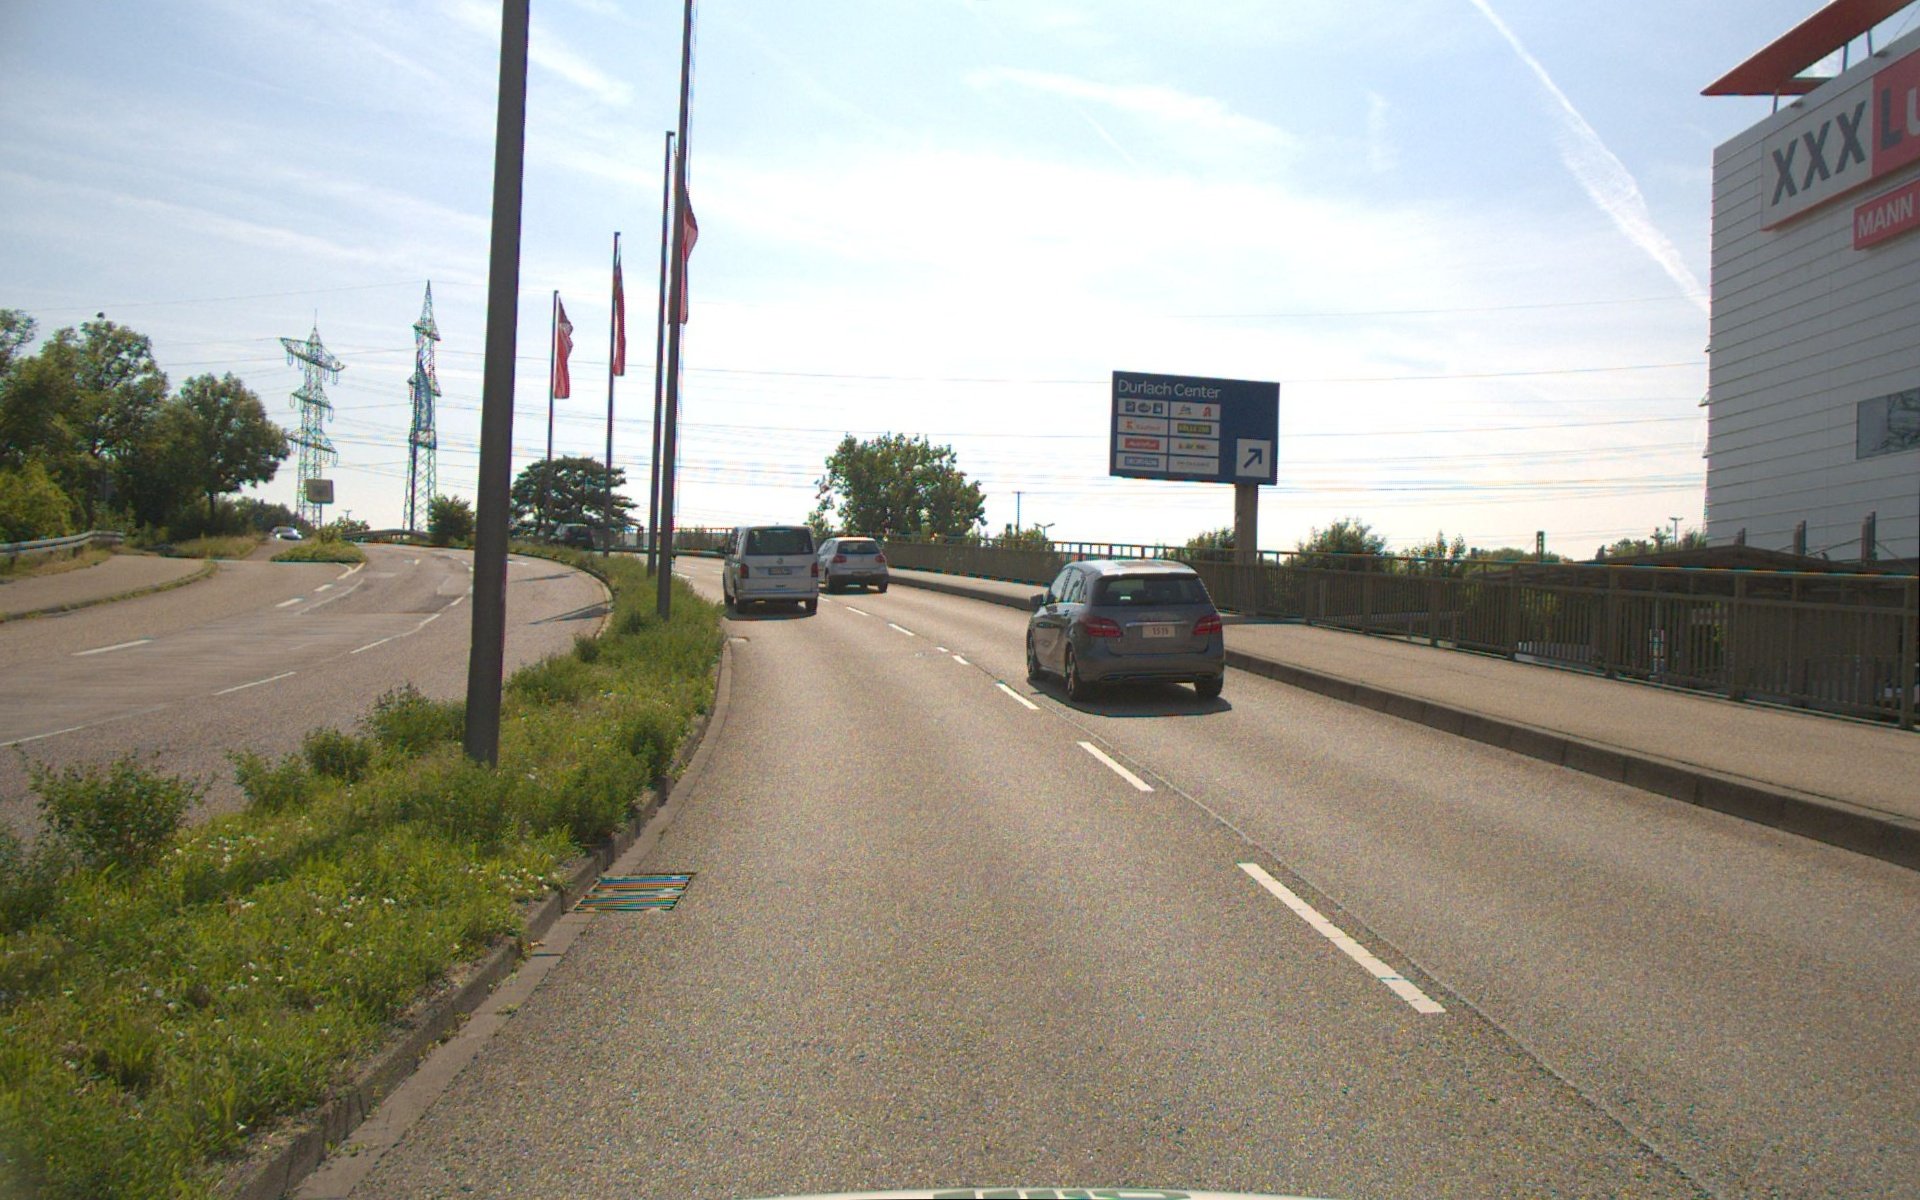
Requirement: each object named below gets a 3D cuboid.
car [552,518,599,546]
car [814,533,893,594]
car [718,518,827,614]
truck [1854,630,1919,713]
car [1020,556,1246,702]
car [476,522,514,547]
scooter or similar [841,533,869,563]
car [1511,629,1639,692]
[{"bbox_3d":[-21.109,-3.739,90.777,1.751,1.355,3.711,-3,2,-25],"label":"car"},{"bbox_3d":[-3.068,-1.084,47.053,1.822,1.555,4.136,-2,3,-9],"label":"car"},{"bbox_3d":[-4.371,-0.836,38.061,2.004,2.048,3.988,-1,3,-13],"label":"car"},{"bbox_3d":[36.551,2.677,61.074,5.869,2.978,2.132,2,-1,1],"label":"truck"},{"bbox_3d":[1.958,0.271,19.952,1.821,1.556,4.138,1,1,-7],"label":"car"},{"bbox_3d":[-27.933,-3.962,99.348,1.749,1.354,3.717,-2,4,-22],"label":"car"},{"bbox_3d":[-4.204,-2.083,66.106,0.505,1.162,1.469,1,2,-28],"label":"scooter or similar"},{"bbox_3d":[31.017,3.065,83.473,5.891,2.978,2.124,2,-1,-14],"label":"car"}]
